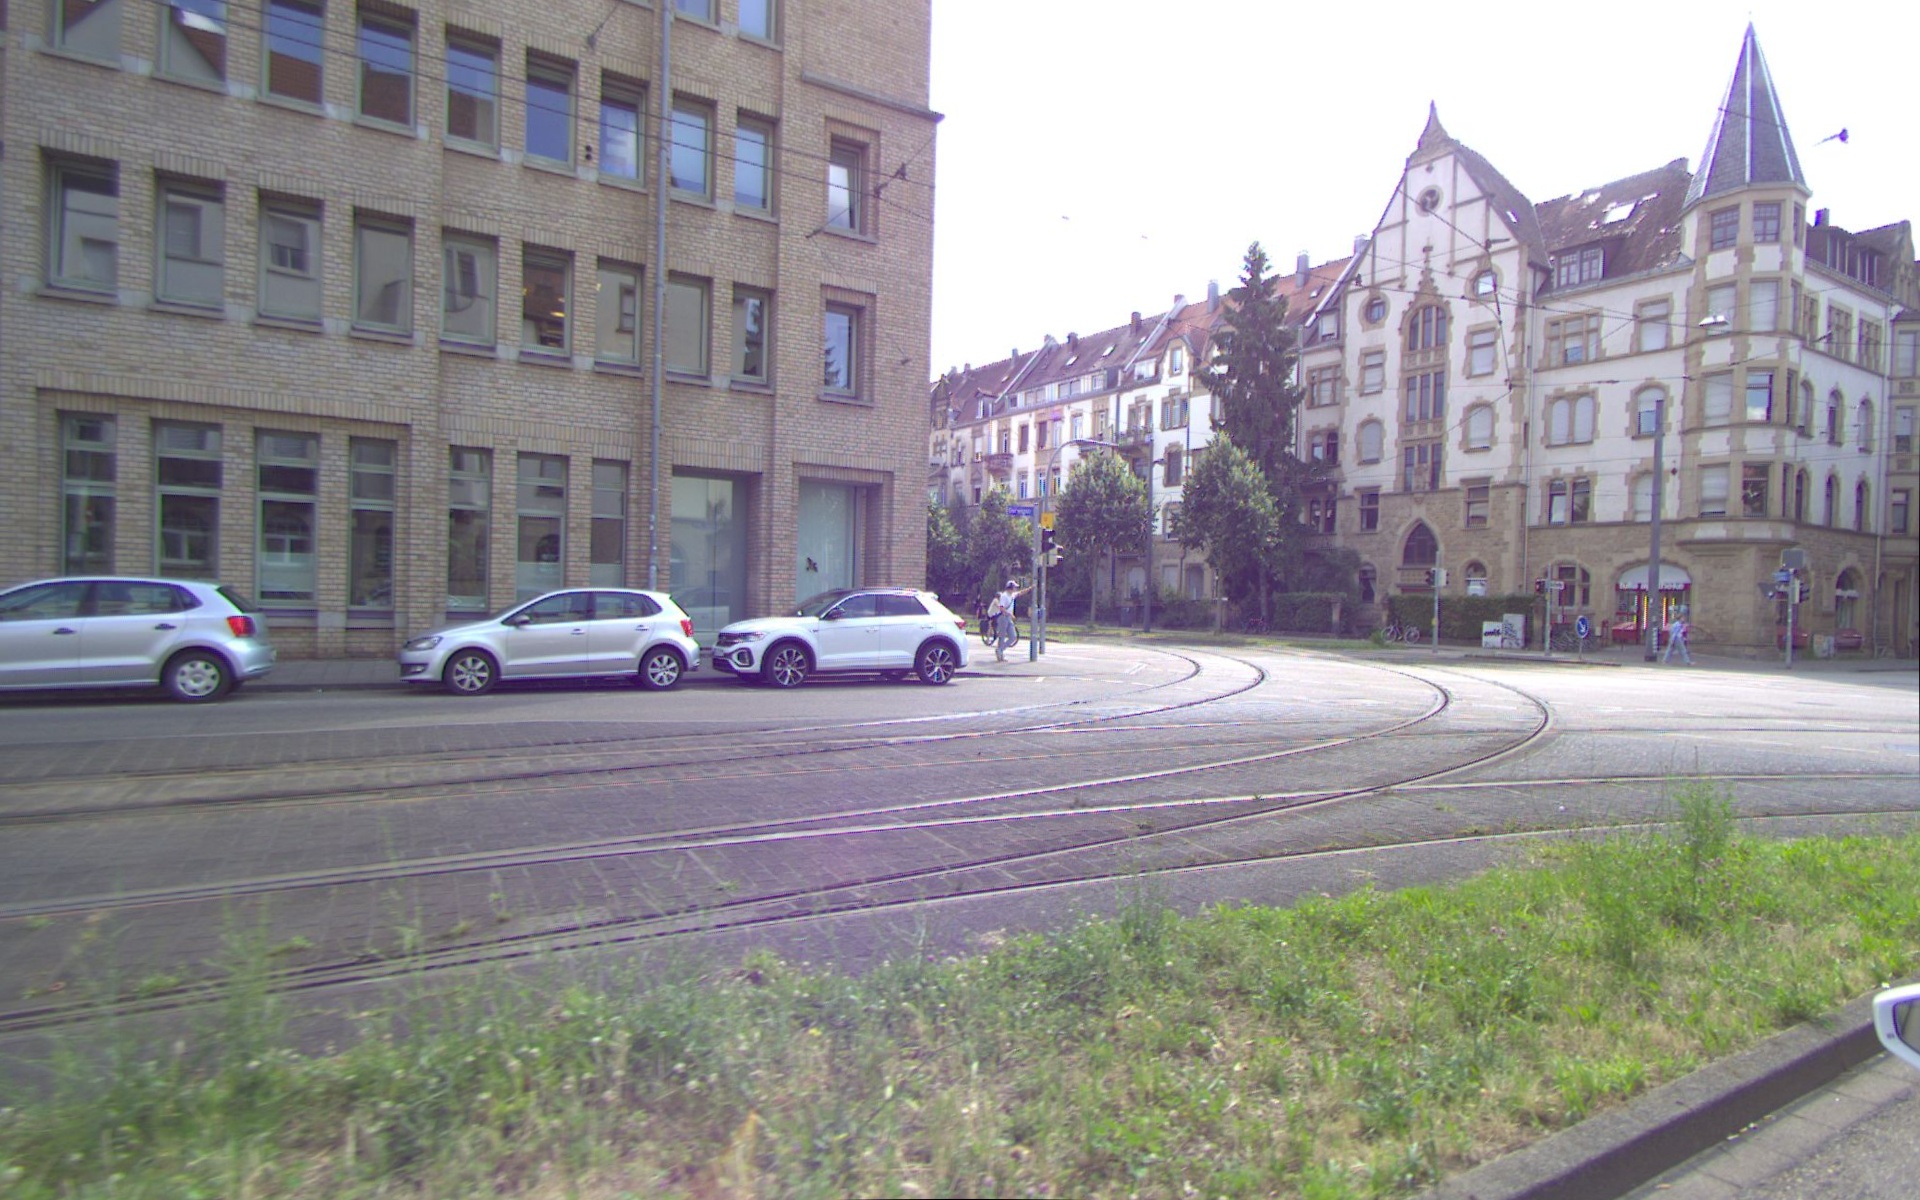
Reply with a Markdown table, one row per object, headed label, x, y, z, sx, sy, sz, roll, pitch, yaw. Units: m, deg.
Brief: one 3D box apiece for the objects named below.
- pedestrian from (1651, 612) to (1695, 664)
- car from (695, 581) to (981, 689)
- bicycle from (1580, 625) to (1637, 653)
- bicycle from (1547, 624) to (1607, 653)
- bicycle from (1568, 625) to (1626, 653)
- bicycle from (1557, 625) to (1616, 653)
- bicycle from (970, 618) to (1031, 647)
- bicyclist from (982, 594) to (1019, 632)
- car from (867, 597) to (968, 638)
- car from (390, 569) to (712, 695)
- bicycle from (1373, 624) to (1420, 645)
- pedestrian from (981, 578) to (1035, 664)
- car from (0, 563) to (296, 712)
| label | x | y | z | sx | sy | sz | roll | pitch | yaw |
| --- | --- | --- | --- | --- | --- | --- | --- | --- | --- |
| pedestrian | 24.773 | 1.313 | 34.934 | 1.003 | 1.745 | 0.776 | 2 | 0 | 16 |
| car | -1.960 | 0.551 | 16.350 | 4.206 | 1.555 | 1.924 | 2 | 0 | -29 |
| bicycle | 27.518 | 1.648 | 42.632 | 0.772 | 1.095 | 1.900 | 2 | -1 | -40 |
| bicycle | 24.729 | 1.547 | 40.274 | 0.772 | 1.095 | 1.900 | 2 | -1 | -40 |
| bicycle | 26.542 | 1.613 | 41.861 | 0.772 | 1.095 | 1.900 | 2 | -1 | -40 |
| bicycle | 25.648 | 1.581 | 41.157 | 0.772 | 1.095 | 1.900 | 2 | -1 | -40 |
| bicycle | 1.269 | 1.020 | 31.889 | 0.712 | 0.837 | 2.124 | 2 | 0 | -38 |
| bicyclist | 1.290 | 0.404 | 31.886 | 0.769 | 1.162 | 0.888 | 1 | 0 | -38 |
| car | -1.665 | 0.634 | 38.275 | 1.875 | 1.394 | 3.954 | 2 | 0 | -39 |
| car | -5.753 | 0.434 | 14.237 | 3.965 | 1.551 | 1.924 | 2 | 0 | -29 |
| bicycle | 19.687 | 1.554 | 45.337 | 0.467 | 0.859 | 1.900 | 2 | -1 | -40 |
| pedestrian | 1.051 | 0.443 | 21.866 | 0.750 | 1.819 | 0.957 | 2 | 0 | 35 |
| car | -10.144 | 0.391 | 11.403 | 4.159 | 1.551 | 1.843 | 2 | 0 | -29 |
